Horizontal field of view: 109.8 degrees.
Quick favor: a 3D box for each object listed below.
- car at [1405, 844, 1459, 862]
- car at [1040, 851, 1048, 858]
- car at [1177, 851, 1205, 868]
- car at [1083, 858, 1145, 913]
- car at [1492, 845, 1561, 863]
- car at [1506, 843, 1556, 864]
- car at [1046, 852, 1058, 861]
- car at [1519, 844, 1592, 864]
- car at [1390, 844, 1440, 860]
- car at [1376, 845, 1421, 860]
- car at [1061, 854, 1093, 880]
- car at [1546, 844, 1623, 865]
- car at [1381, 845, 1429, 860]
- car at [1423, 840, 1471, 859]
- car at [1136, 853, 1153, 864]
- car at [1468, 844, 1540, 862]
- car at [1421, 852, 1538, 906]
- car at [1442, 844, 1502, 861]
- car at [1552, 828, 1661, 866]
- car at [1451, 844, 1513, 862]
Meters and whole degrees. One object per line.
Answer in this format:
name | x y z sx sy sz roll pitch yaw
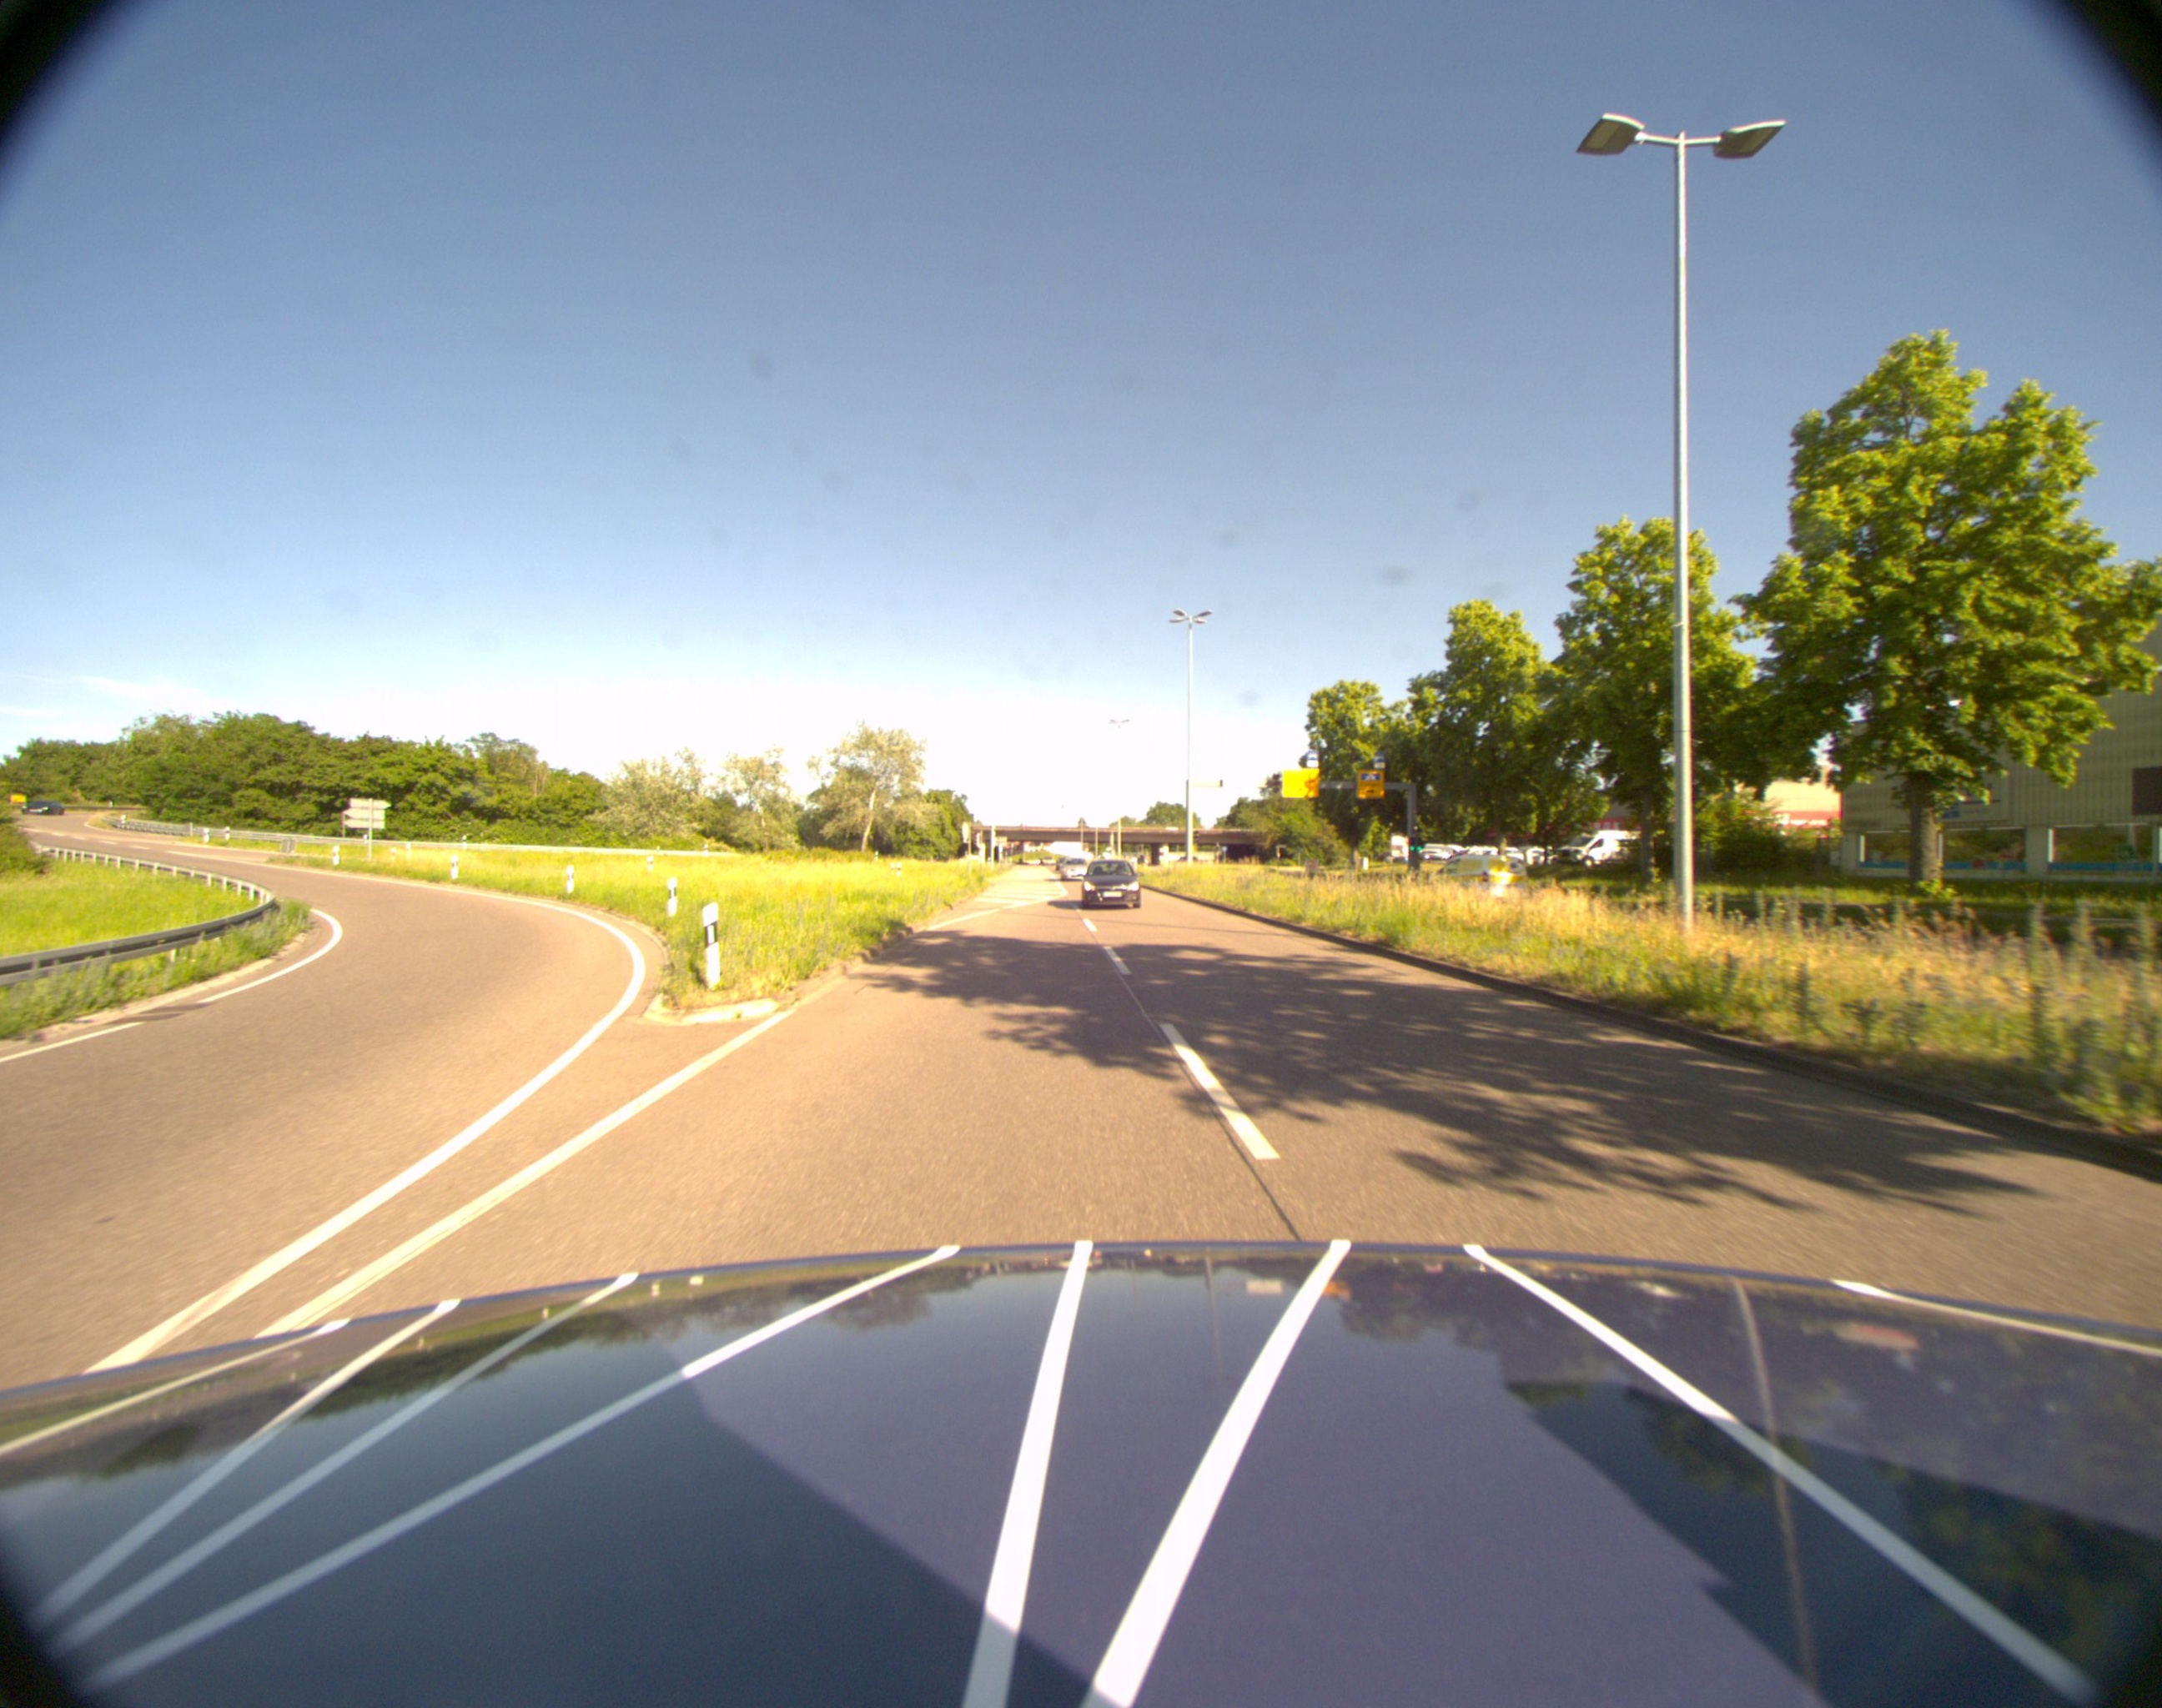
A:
car | 32.459 -0.083 70.326 4.128 1.542 1.946 0 0 0
car | -7.973 0.116 164.289 1.628 1.428 3.278 -1 0 0
car | 11.466 0.603 79.187 1.947 1.687 4.628 2 0 -3
car | 1.020 0.897 23.288 1.706 1.447 3.959 -1 0 3
car | 33.734 0.000 57.611 4.131 1.380 1.945 0 0 -6
car | 42.342 -0.058 71.630 1.784 1.945 5.129 0 0 1
car | -5.039 0.386 132.164 1.827 1.528 4.040 0 0 -4
car | 34.372 0.025 55.089 4.131 1.380 1.945 0 0 -6
car | 33.205 -0.169 75.668 4.128 1.542 1.819 0 0 2
car | 33.576 -0.209 80.477 4.125 1.542 1.897 0 0 9
car | -0.296 0.794 48.276 1.827 1.528 4.040 0 0 -3
car | 34.744 0.055 52.496 4.131 1.380 1.945 0 0 -6
car | 33.271 -0.175 78.049 4.126 1.542 1.897 0 0 8
car | 44.599 -0.542 92.730 1.899 2.139 5.033 0 0 -35
car | 9.574 0.672 114.189 1.881 1.534 4.571 2 0 -3
car | 33.602 -0.050 60.391 4.632 1.380 1.946 0 0 -3
car | 13.879 0.810 26.741 1.711 1.736 4.164 0 0 -4
car | 33.393 -0.104 64.971 4.130 1.380 1.946 0 0 -4
car | 34.450 -0.441 49.874 5.895 2.419 2.205 0 0 -6
car | 33.037 -0.066 62.653 4.131 1.380 1.945 0 0 -6
